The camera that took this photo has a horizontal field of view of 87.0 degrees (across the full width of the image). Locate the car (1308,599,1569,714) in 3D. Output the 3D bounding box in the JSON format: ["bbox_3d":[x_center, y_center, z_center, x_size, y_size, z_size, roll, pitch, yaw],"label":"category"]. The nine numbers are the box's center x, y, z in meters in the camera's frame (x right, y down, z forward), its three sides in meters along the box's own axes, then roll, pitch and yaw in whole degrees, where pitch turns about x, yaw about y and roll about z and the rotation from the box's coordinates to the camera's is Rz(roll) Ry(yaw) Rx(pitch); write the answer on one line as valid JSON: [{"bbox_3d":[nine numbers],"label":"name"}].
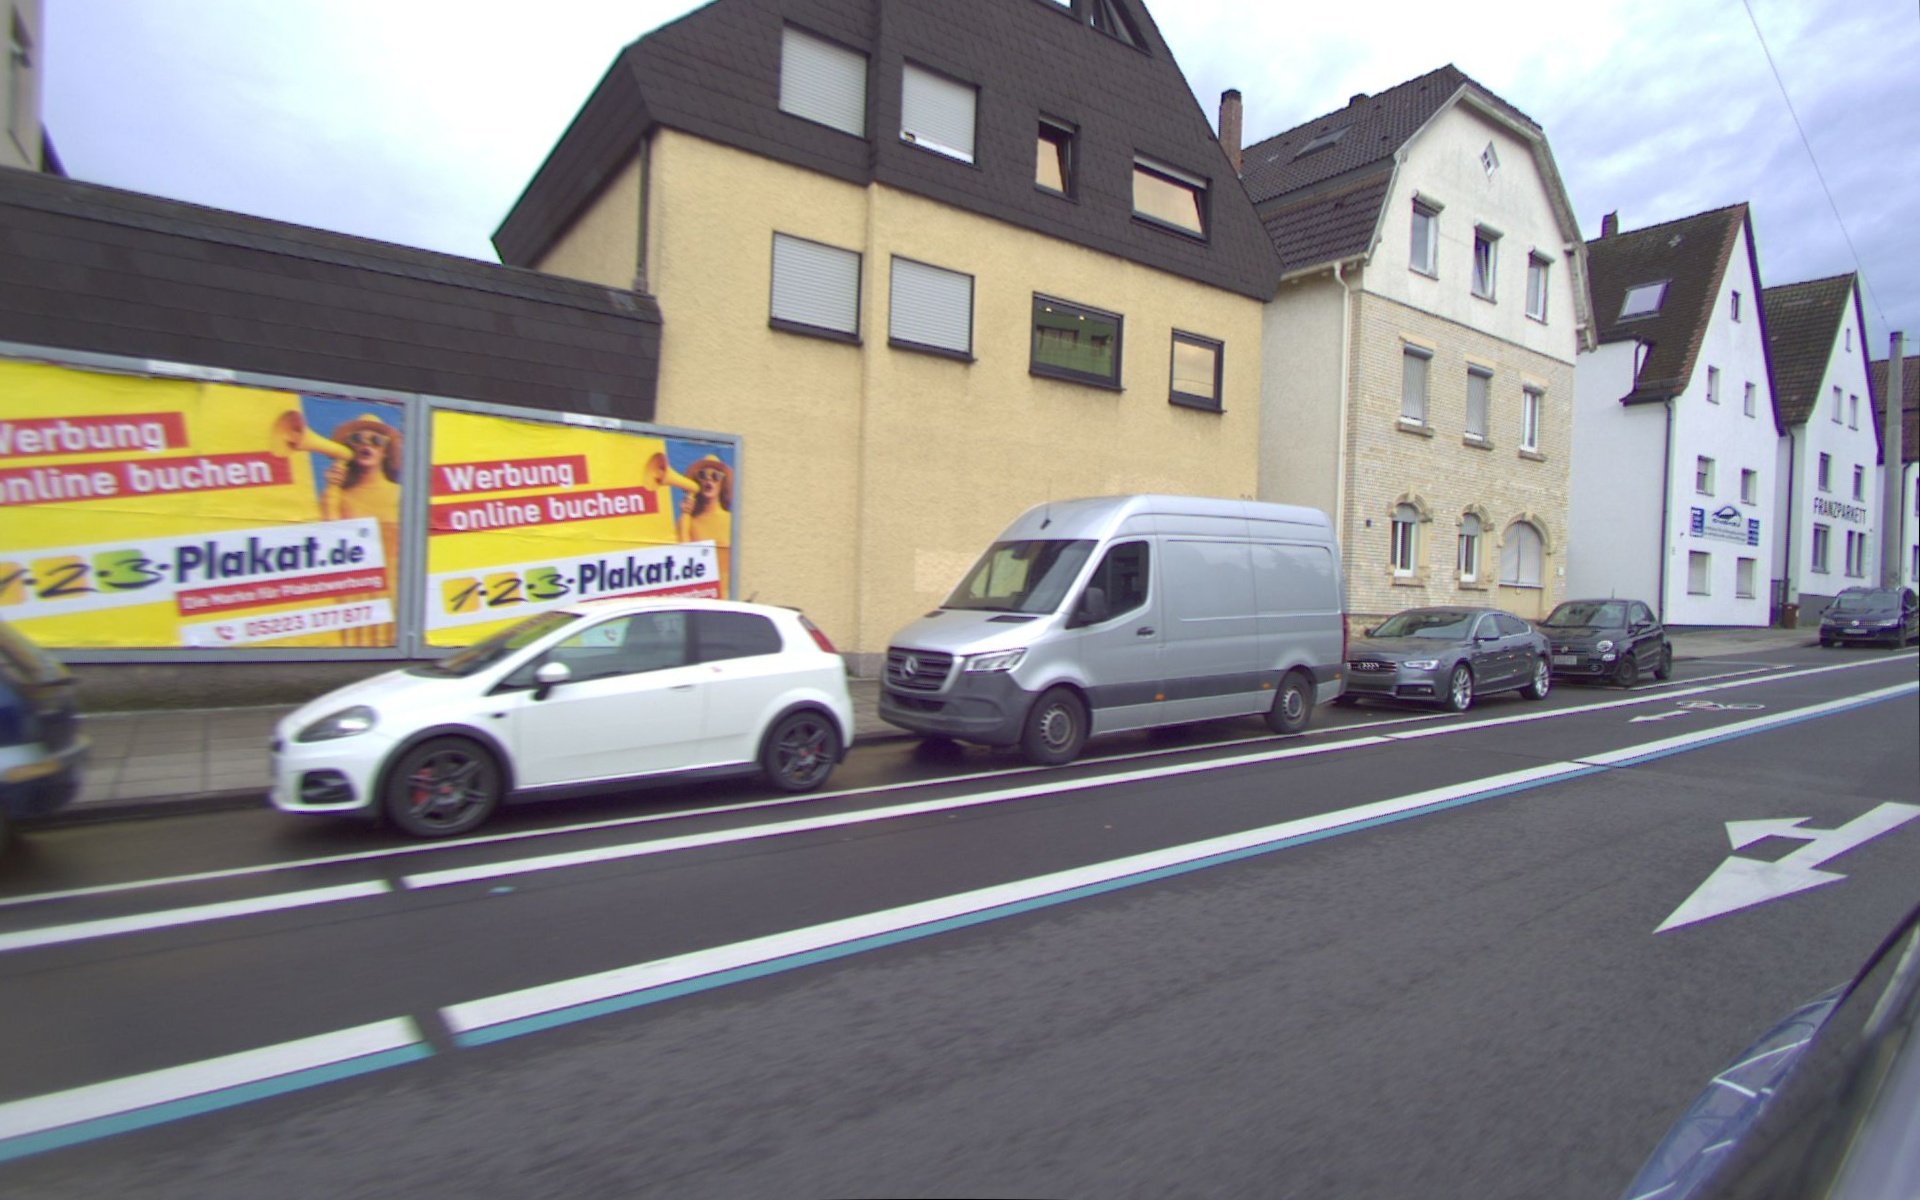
[{"bbox_3d":[7.067,0.706,14.736,4.473,1.424,1.791,0,0,-41],"label":"car"}]

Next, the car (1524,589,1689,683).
[{"bbox_3d":[11.712,0.581,18.269,3.451,1.517,1.568,-1,0,-41],"label":"car"}]

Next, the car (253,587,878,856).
[{"bbox_3d":[-2.728,0.668,7.414,3.966,1.465,1.713,0,0,-37],"label":"car"}]

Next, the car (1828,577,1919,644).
[{"bbox_3d":[27.005,0.265,29.372,4.600,1.823,1.844,-1,0,-38],"label":"car"}]

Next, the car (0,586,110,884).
[{"bbox_3d":[-6.435,0.669,4.739,3.638,1.467,1.631,0,0,-36],"label":"car"}]

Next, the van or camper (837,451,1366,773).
[{"bbox_3d":[1.772,0.112,10.775,5.931,2.596,1.999,1,-1,-38],"label":"van or camper"}]

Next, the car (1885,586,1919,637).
[{"bbox_3d":[30.986,0.330,32.181,4.059,1.558,1.638,-1,0,-38],"label":"car"}]
